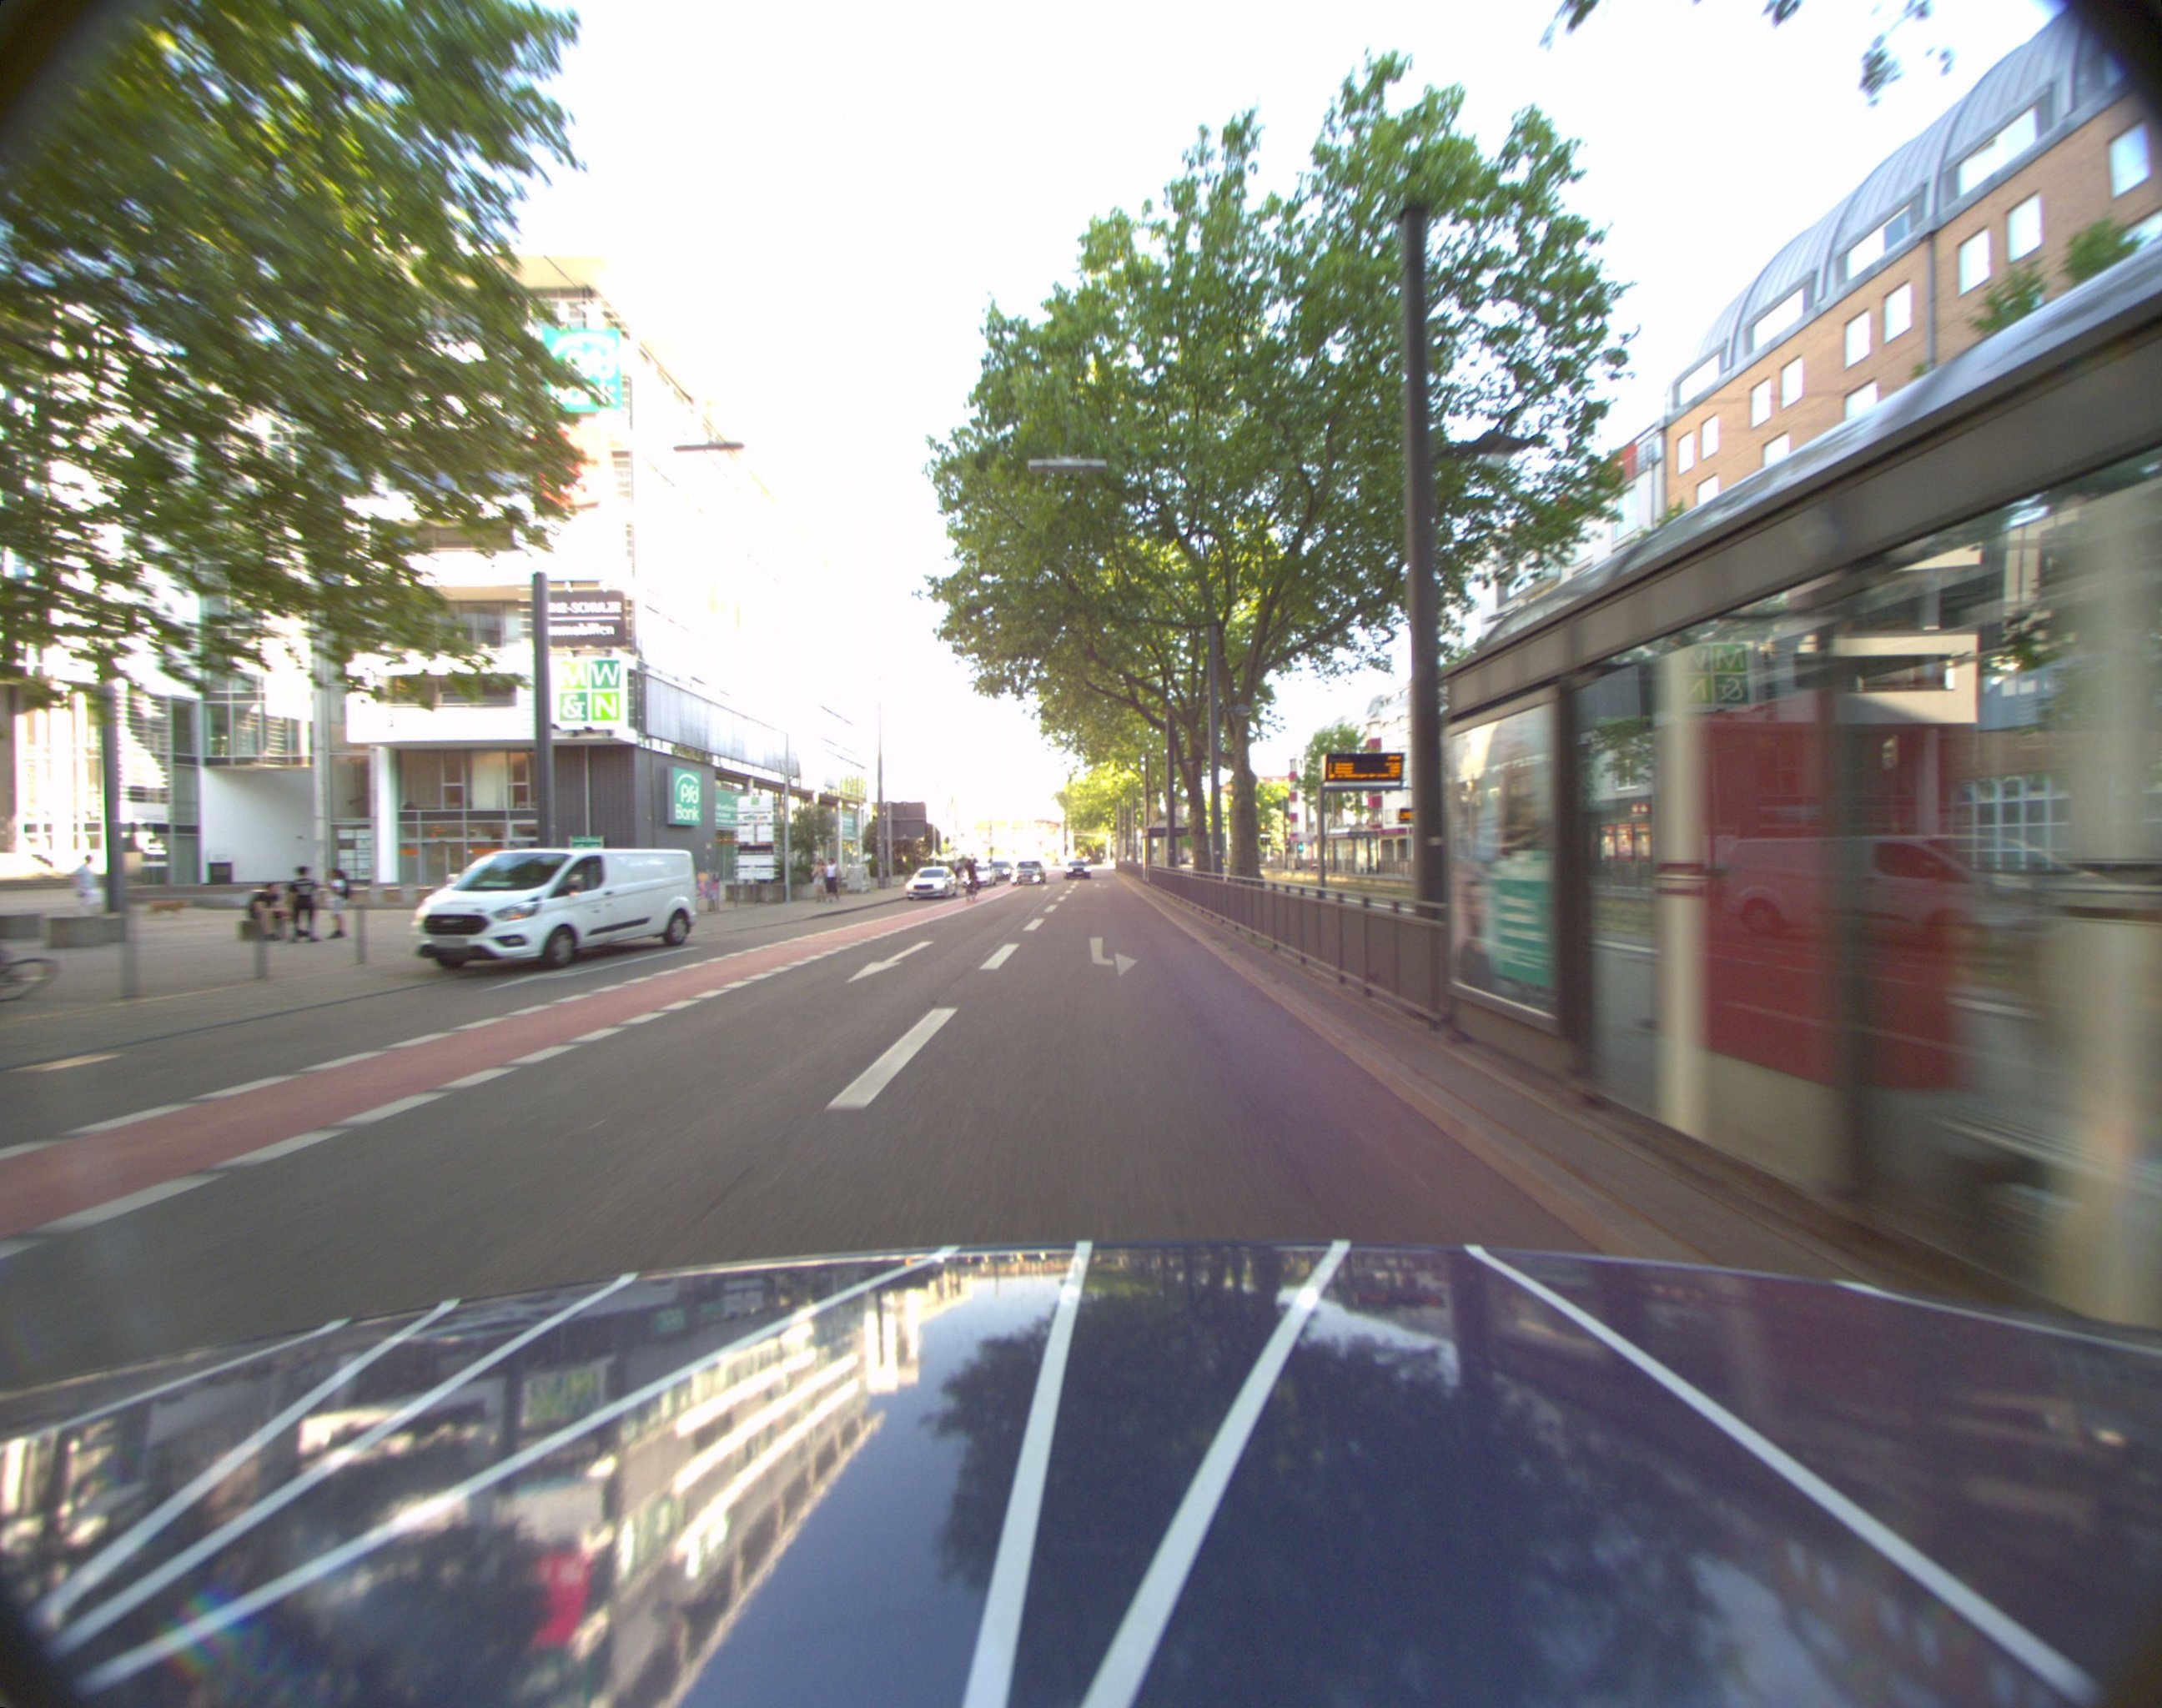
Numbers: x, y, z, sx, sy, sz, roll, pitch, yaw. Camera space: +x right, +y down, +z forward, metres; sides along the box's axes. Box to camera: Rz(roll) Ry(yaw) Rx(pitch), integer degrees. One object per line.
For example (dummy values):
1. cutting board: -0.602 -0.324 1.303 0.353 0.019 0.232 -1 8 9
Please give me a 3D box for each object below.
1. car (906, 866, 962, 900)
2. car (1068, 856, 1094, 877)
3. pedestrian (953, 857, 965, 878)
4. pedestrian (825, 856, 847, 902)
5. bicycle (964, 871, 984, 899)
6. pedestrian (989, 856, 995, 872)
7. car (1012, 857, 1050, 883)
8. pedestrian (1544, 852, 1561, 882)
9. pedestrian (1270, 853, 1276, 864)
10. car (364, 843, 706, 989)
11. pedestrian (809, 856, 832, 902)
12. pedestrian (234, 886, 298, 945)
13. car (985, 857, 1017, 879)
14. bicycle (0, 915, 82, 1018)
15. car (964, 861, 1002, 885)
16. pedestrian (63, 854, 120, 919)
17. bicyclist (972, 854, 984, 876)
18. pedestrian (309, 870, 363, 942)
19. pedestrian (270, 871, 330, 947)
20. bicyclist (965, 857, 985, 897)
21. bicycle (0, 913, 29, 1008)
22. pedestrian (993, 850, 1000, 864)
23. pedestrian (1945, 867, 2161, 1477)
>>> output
1. car: -6.789 1.304 35.413 1.786 1.411 4.021 -1 0 0
2. car: -0.050 0.888 56.857 1.827 1.416 4.345 -2 0 -1
3. pedestrian: -9.532 1.047 59.449 0.753 1.565 0.912 -1 1 3
4. pedestrian: -9.672 0.984 30.040 0.564 1.798 0.891 0 1 1
5. bicycle: -4.529 1.295 32.140 0.551 1.114 2.126 0 0 0
6. pedestrian: -9.202 1.017 78.503 0.527 1.573 0.589 1 1 2
7. car: -3.216 1.005 49.378 1.785 1.628 4.023 -1 0 6
8. pedestrian: 28.435 0.801 45.846 0.503 1.760 0.785 -2 1 1
9. pedestrian: 29.884 0.740 118.384 0.602 1.694 0.670 -1 2 40
10. car: -9.299 0.906 13.760 2.128 2.121 5.290 -1 0 3
11. pedestrian: -10.293 0.991 30.058 0.591 1.798 0.896 0 1 1
12. pedestrian: -17.408 1.300 16.240 0.615 1.214 0.677 0 0 4
13. car: -6.241 1.070 59.836 1.998 1.586 4.000 -1 0 1
14. bicycle: -12.975 1.358 8.889 0.514 1.151 1.539 -1 0 0
15. car: -6.221 1.186 48.782 1.671 1.455 3.870 -1 0 4
16. pedestrian: -26.055 0.835 20.018 0.540 1.666 0.723 0 1 0
17. bicyclist: -8.226 0.868 60.823 0.743 1.752 1.209 2 1 1
18. pedestrian: -16.213 1.118 16.546 0.516 1.514 0.636 0 0 7
19. pedestrian: -16.126 1.124 15.697 0.577 1.534 0.638 0 0 7
20. bicyclist: -4.481 0.957 32.219 0.752 1.678 0.714 0 1 0
21. bicycle: -13.657 1.331 8.893 0.514 1.151 1.539 -1 0 0
22. pedestrian: -9.578 0.367 86.099 0.693 1.573 0.664 1 1 2
23. pedestrian: 2.851 0.740 1.853 0.736 1.379 0.640 -2 1 3
